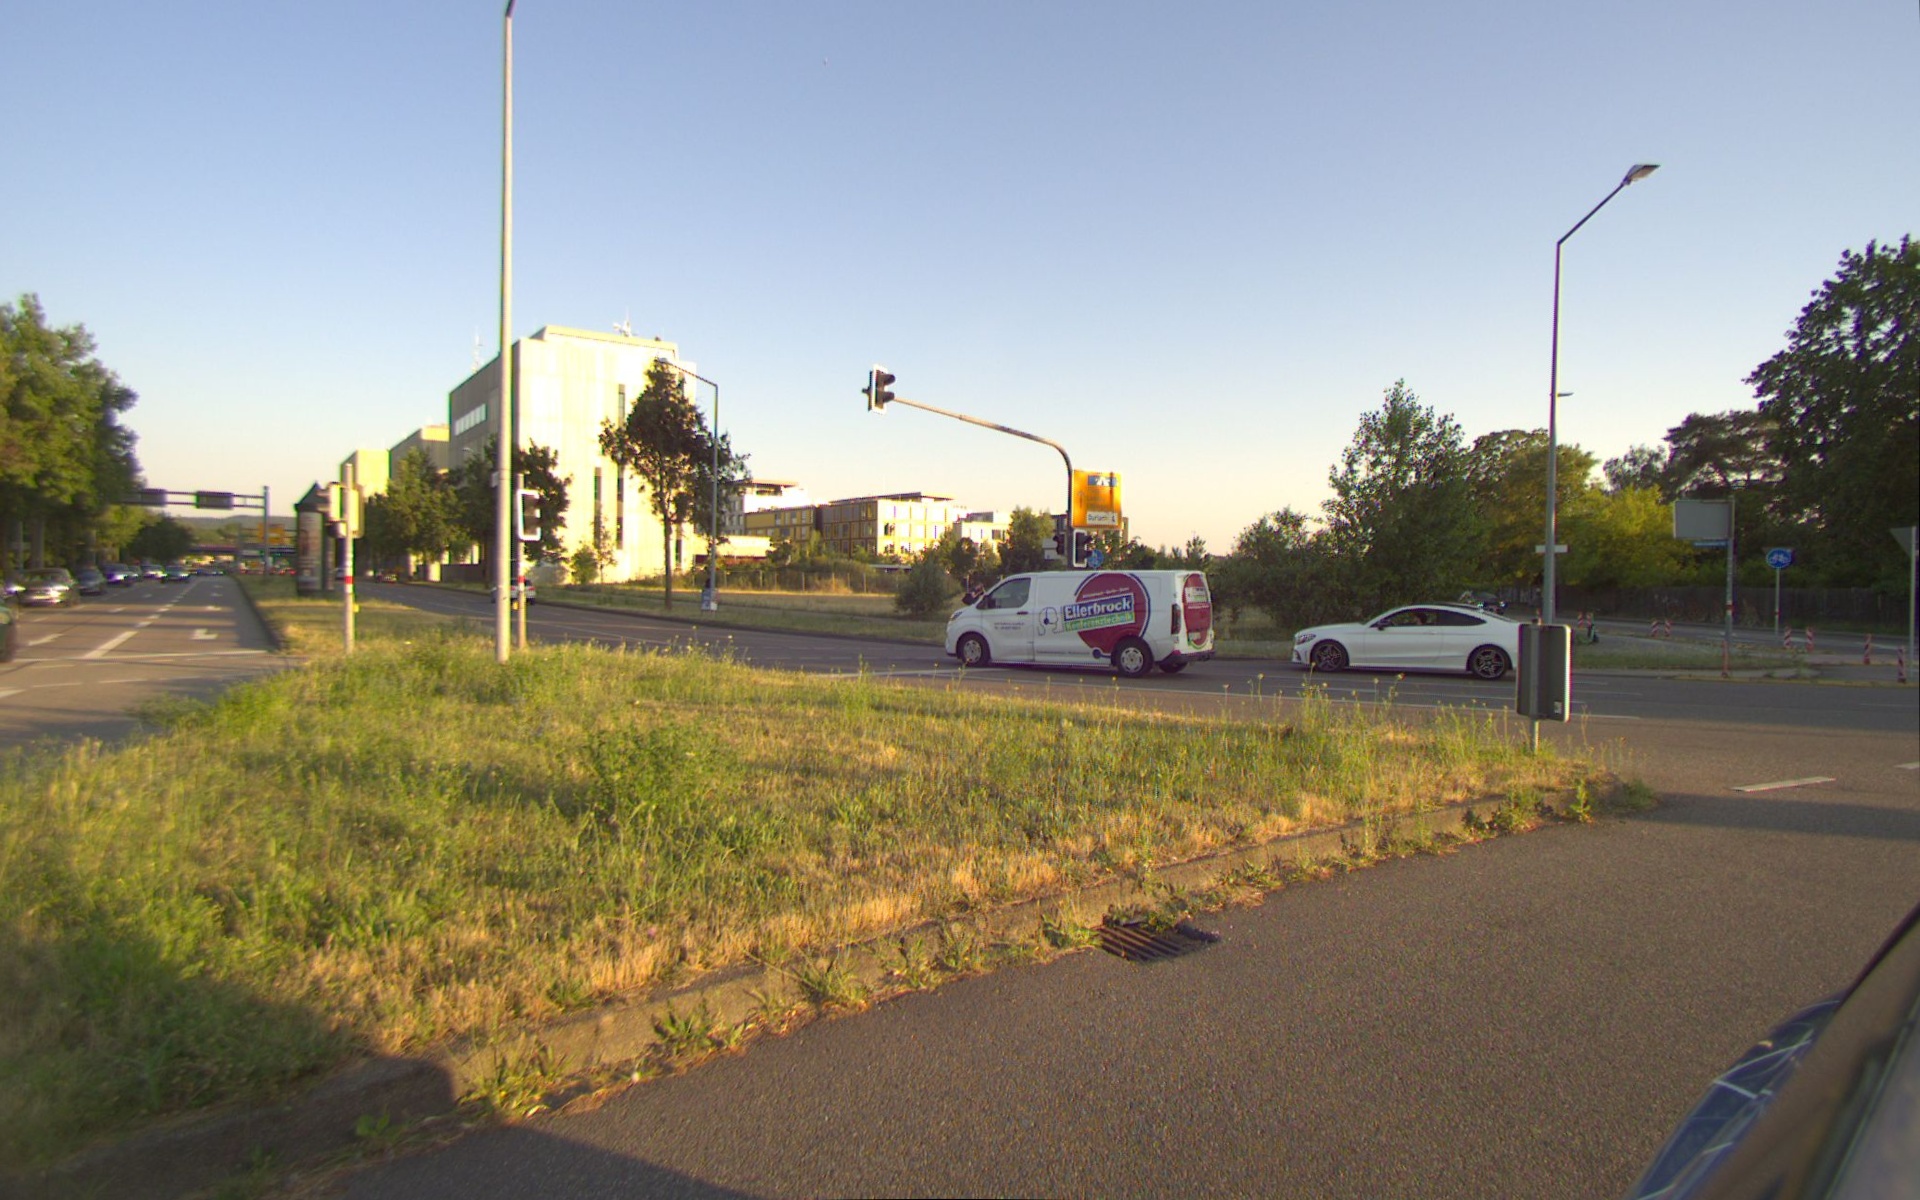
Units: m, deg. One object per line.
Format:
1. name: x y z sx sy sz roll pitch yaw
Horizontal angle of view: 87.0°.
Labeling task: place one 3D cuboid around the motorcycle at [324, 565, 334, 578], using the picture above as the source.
1. motorcycle: -54.828 -2.484 87.909 0.548 1.114 2.159 0 1 -37

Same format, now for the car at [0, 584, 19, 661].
1. car: -16.785 0.429 16.076 1.839 1.325 4.143 -1 2 -31

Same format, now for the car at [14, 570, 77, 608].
1. car: -39.097 -0.493 43.316 1.589 1.537 3.716 -1 2 -36

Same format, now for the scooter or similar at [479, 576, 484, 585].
1. scooter or similar: -49.822 -2.022 105.327 0.242 0.925 1.039 0 1 -37

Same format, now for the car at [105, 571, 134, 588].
1. car: -71.687 -1.761 86.351 1.589 1.471 3.716 -1 2 -36

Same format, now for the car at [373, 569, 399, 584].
1. car: -58.133 -2.379 102.436 1.770 1.482 3.998 1 1 -37

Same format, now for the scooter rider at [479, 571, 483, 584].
1. scooter rider: -49.812 -2.351 105.299 0.260 1.356 0.406 1 1 -37

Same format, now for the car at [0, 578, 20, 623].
1. car: -29.986 -0.005 30.767 1.589 1.325 3.716 -1 2 -36

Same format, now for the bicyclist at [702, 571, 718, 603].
1. bicyclist: -13.658 -0.709 55.331 0.527 1.765 0.843 1 1 -38

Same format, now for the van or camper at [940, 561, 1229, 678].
1. van or camper: 2.303 0.265 19.634 5.296 1.982 1.974 2 1 36

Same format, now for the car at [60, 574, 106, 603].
1. car: -49.197 -0.681 56.829 1.589 1.537 3.716 -1 2 -36

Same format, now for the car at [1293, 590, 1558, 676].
1. car: 9.002 0.577 19.829 4.514 1.448 1.730 1 1 27

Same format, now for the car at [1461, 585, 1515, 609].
1. car: 34.909 -0.216 67.000 1.839 1.504 3.993 1 1 7

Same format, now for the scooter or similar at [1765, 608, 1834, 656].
1. scooter or similar: 21.222 0.803 25.581 1.356 1.177 0.442 1 1 -2

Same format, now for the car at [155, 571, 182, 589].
1. car: -65.078 -1.650 83.241 1.589 1.471 3.716 -1 2 -36

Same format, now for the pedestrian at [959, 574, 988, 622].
1. pedestrian: 0.447 -0.063 33.879 0.782 1.569 0.567 0 1 -37

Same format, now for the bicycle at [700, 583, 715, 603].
1. bicycle: -13.808 -0.393 55.362 0.275 1.102 1.372 1 1 -37

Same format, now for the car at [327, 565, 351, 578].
1. car: -68.056 -3.132 110.912 1.770 1.440 4.447 1 1 -37

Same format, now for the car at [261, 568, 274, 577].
1. car: -133.576 -5.266 195.295 1.785 1.544 4.133 1 1 -38

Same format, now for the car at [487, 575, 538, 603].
1. car: -25.174 -0.651 56.868 1.857 1.499 4.051 0 1 -35

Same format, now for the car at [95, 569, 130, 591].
1. car: -60.015 -1.411 71.700 1.589 1.537 3.716 -1 2 -36

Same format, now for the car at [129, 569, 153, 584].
1. car: -80.057 -2.322 98.948 1.589 1.471 3.716 -1 2 -36
